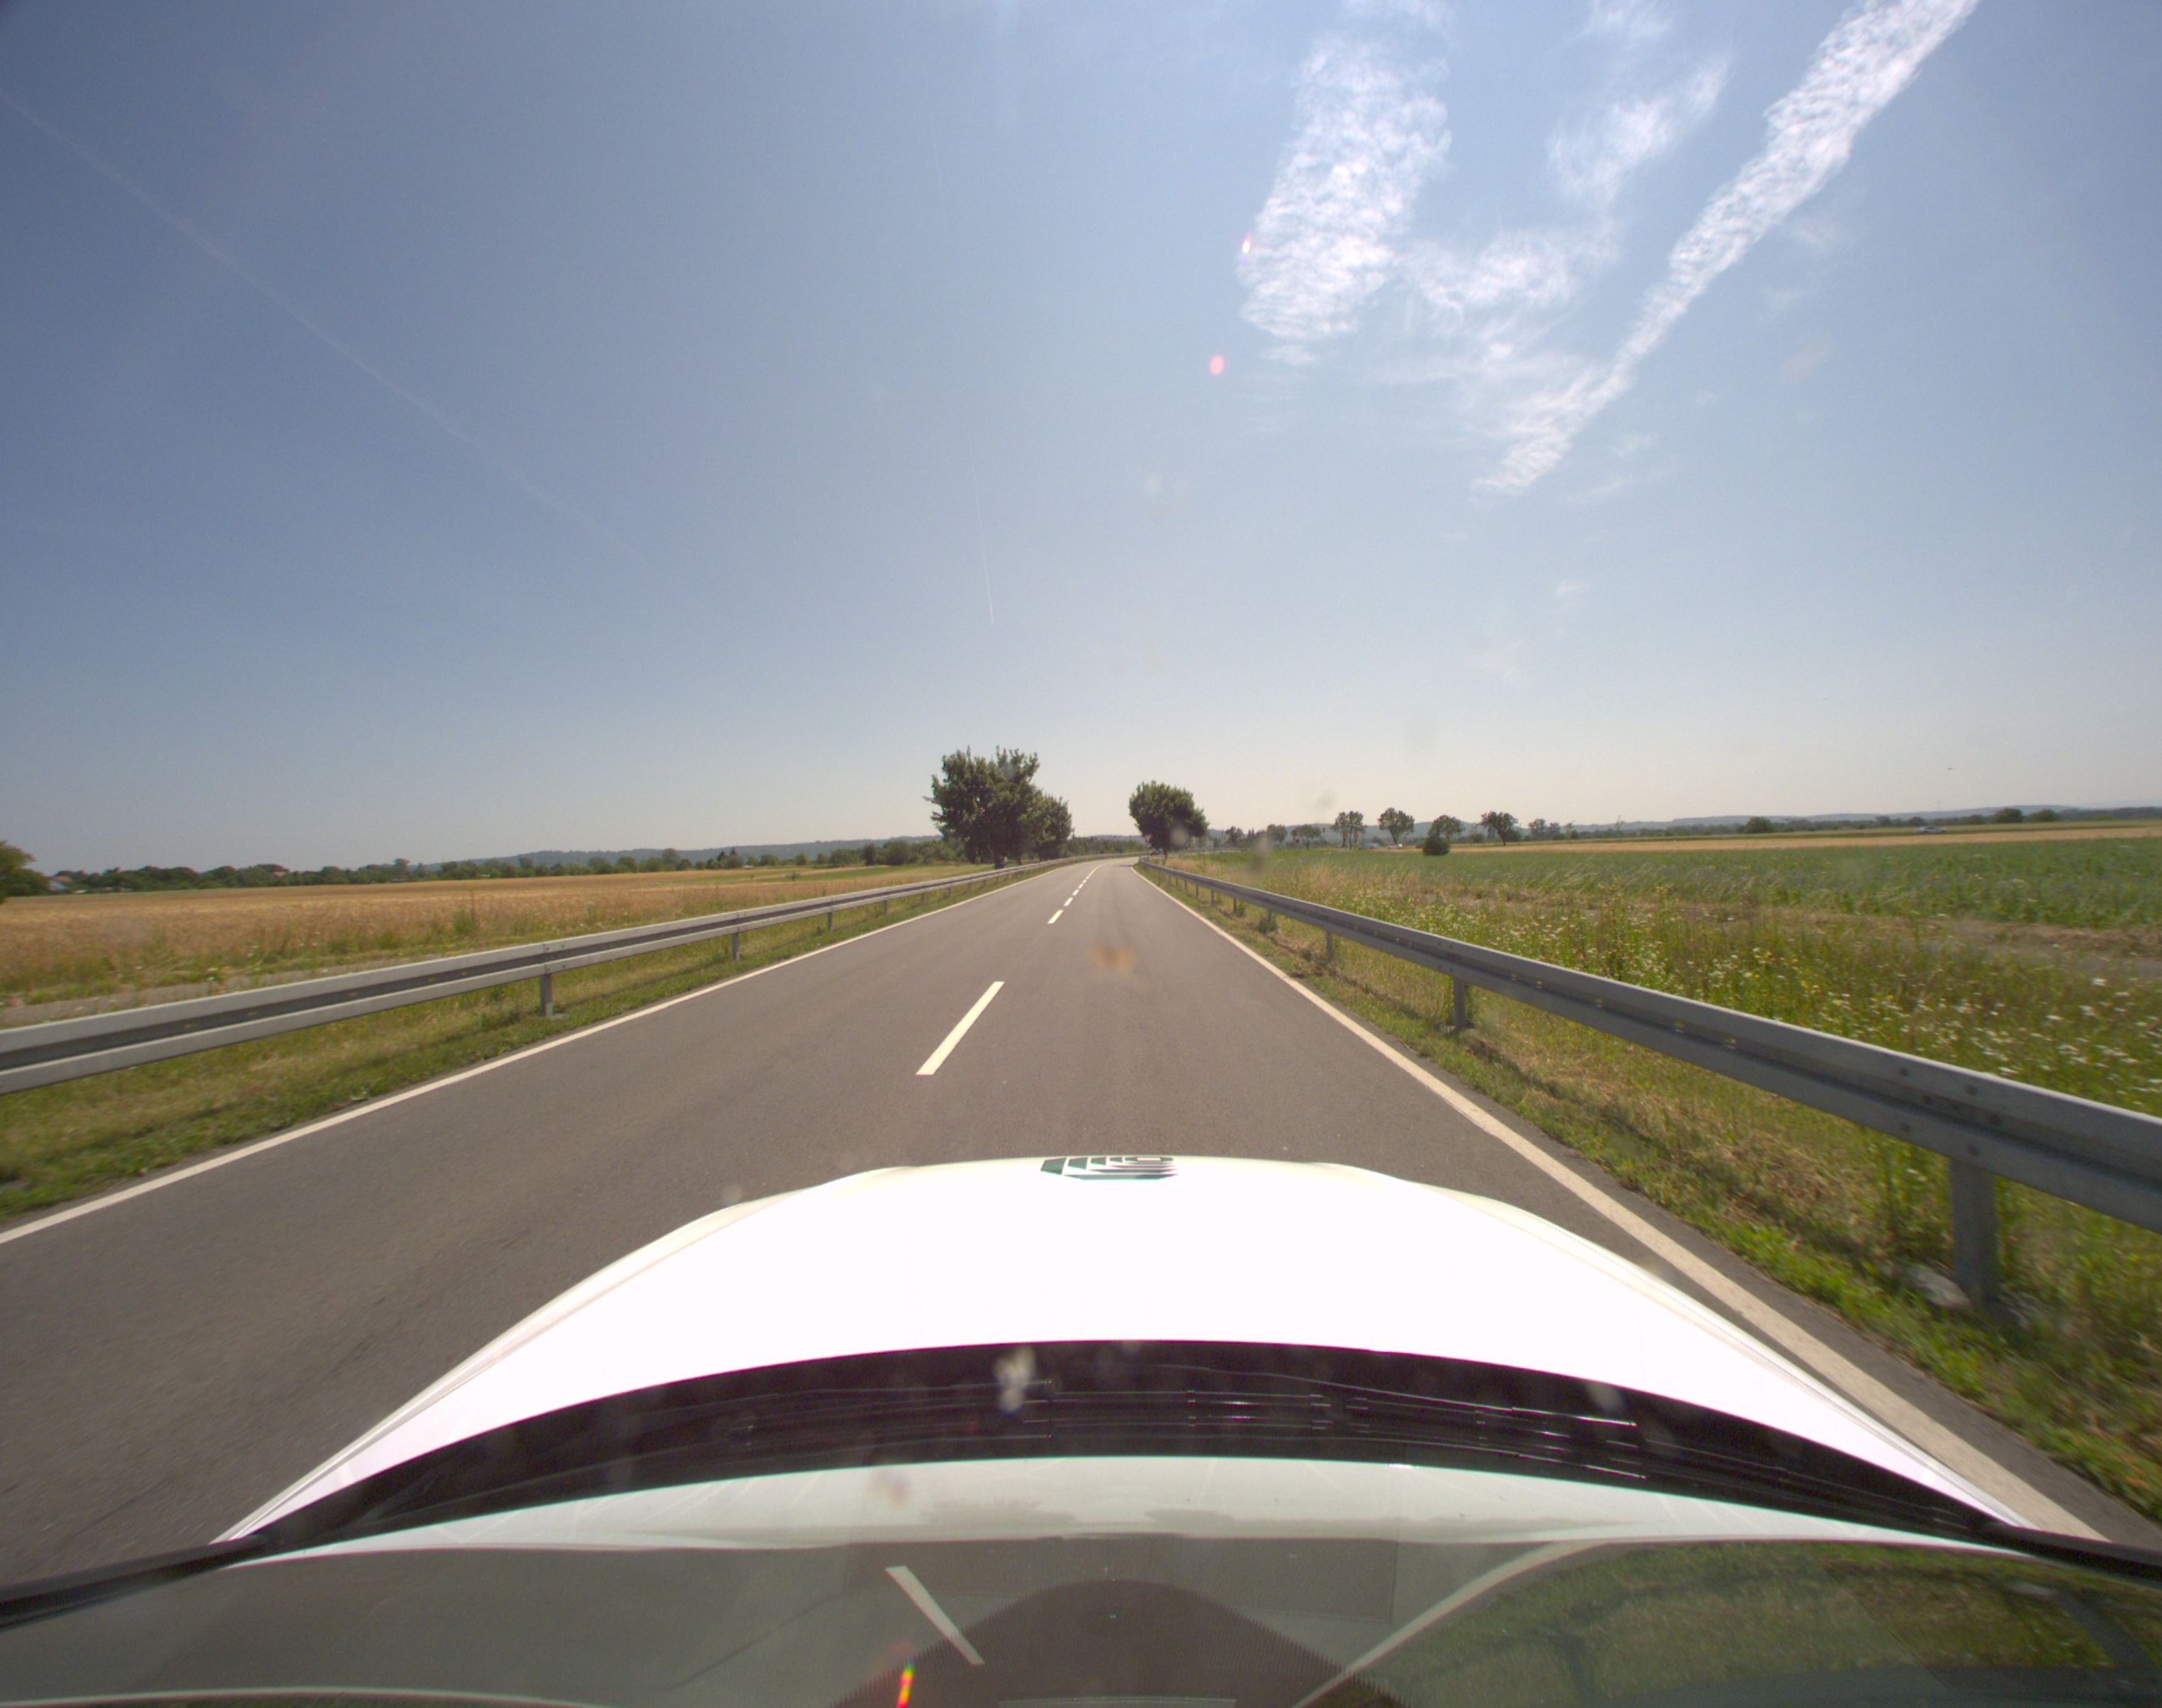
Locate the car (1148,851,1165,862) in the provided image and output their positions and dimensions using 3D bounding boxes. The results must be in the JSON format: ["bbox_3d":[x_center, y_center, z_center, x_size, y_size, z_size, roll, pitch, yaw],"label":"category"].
[{"bbox_3d":[13.856,0.434,149.111,1.975,2.014,4.022,0,-1,25],"label":"car"}]
